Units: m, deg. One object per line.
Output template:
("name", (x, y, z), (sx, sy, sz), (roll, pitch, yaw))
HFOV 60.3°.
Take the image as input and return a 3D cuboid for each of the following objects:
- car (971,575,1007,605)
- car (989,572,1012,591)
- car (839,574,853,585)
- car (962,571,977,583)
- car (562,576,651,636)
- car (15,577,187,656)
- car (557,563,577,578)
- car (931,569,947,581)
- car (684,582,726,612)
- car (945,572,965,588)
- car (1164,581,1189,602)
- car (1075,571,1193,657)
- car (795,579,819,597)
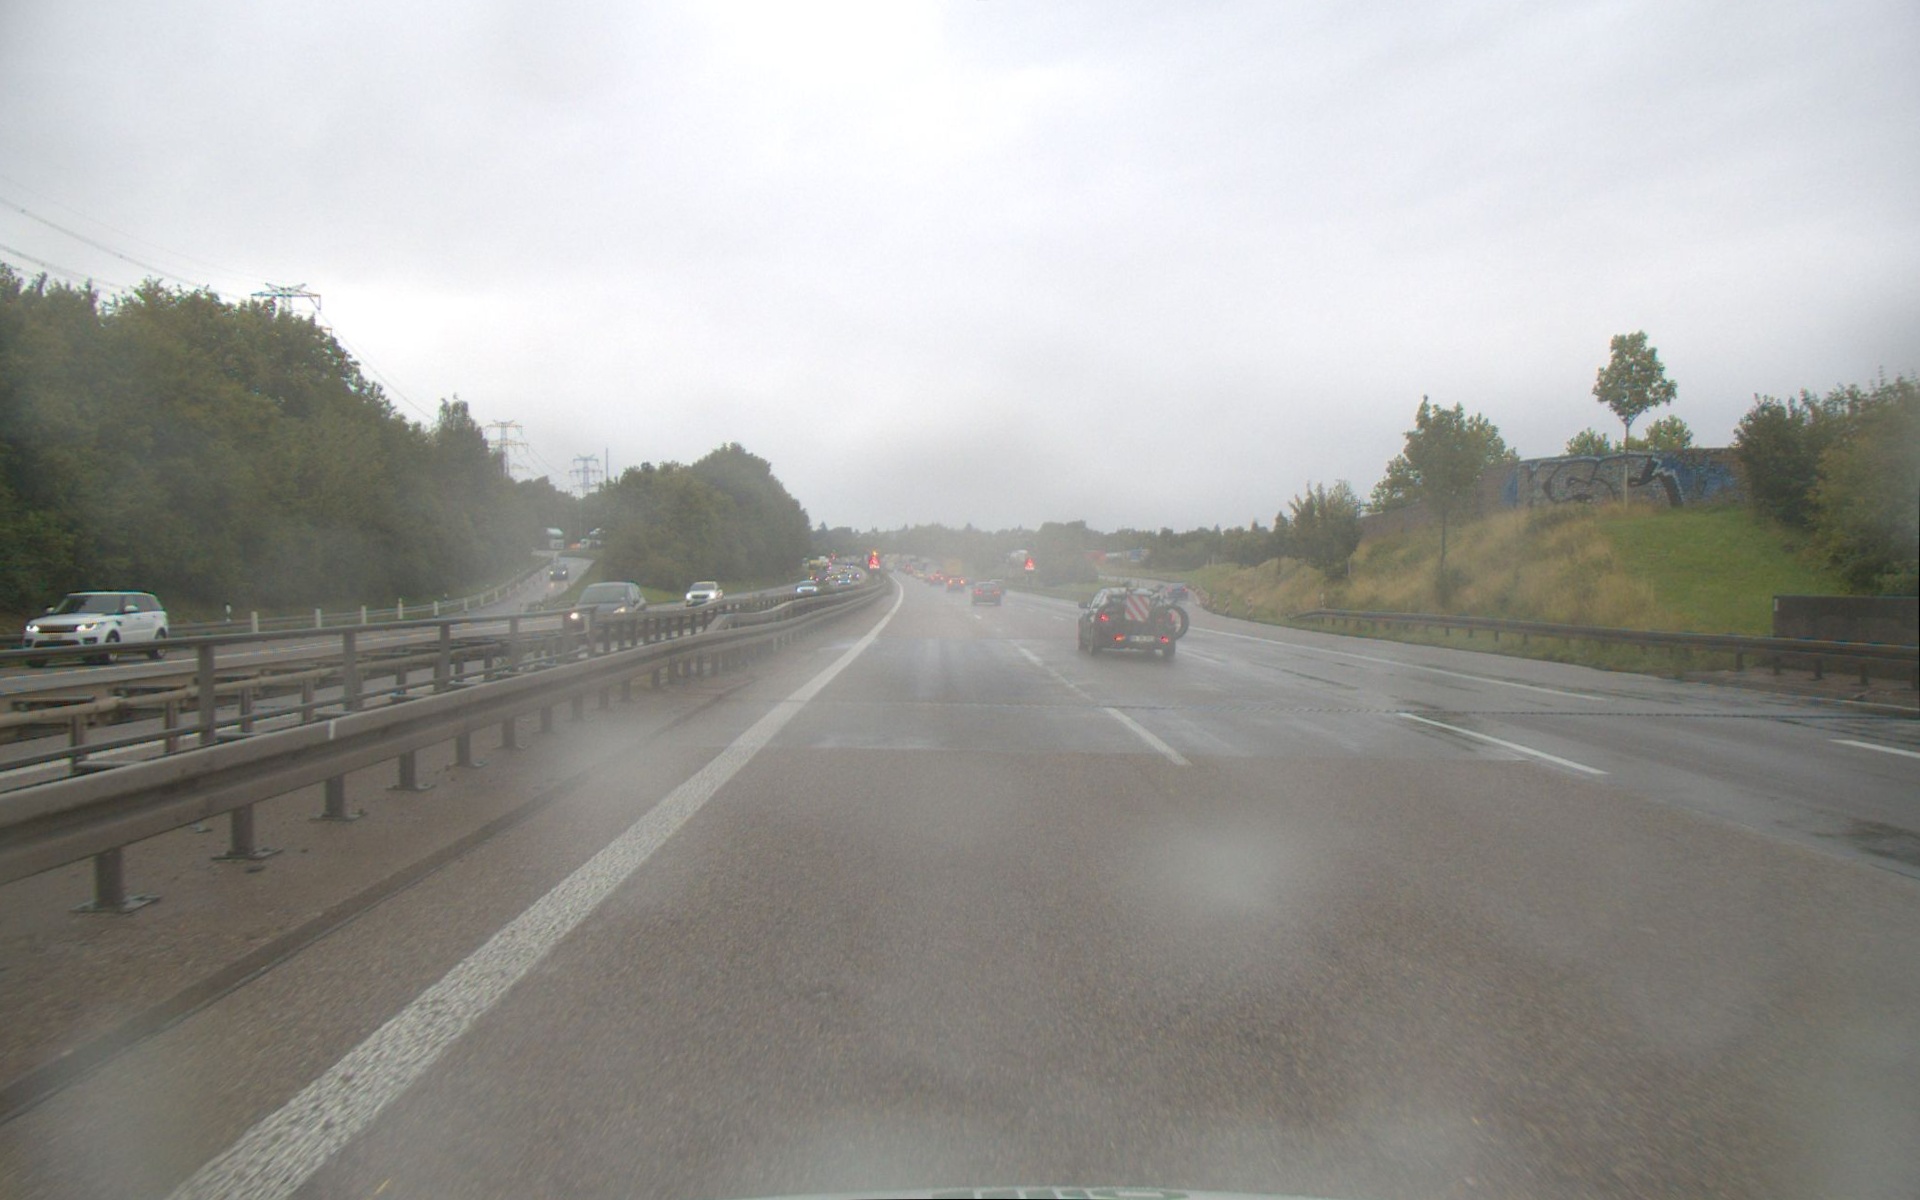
("car", (1.813, -0.637, 104.766), (1.954, 1.791, 3.998), (-1, 1, -3))
("car", (3.966, -1.810, 163.312), (1.954, 1.791, 3.998), (2, 1, -3))
("car", (-16.287, -2.947, 236.528), (1.785, 1.538, 4.789), (-1, 1, -2))
("car", (1.378, -3.315, 239.323), (1.954, 1.657, 3.998), (-1, 1, -3))
("car", (-10.146, 0.129, 47.738), (1.791, 1.621, 3.815), (-1, 1, -1))
("car", (-21.720, 0.362, 42.064), (1.910, 1.850, 4.915), (-1, 1, -2))
("car", (-41.874, -3.111, 176.231), (1.934, 1.570, 3.987), (-1, 1, -13))
("car", (-2.951, -3.533, 231.859), (1.954, 1.657, 3.998), (-1, 1, -3))
("car", (-15.191, -0.213, 98.612), (1.866, 1.694, 4.713), (-1, 1, -1))
("car", (-0.521, -2.132, 173.561), (1.954, 1.657, 3.998), (-1, 1, -3))
("car", (18.742, -0.780, 143.419), (1.882, 1.739, 4.002), (-1, 1, 4))
("car", (3.711, 0.271, 36.213), (2.015, 1.700, 5.522), (1, 0, 0))
("car", (-13.061, -1.026, 141.475), (1.722, 1.487, 4.761), (-2, 1, -1))
